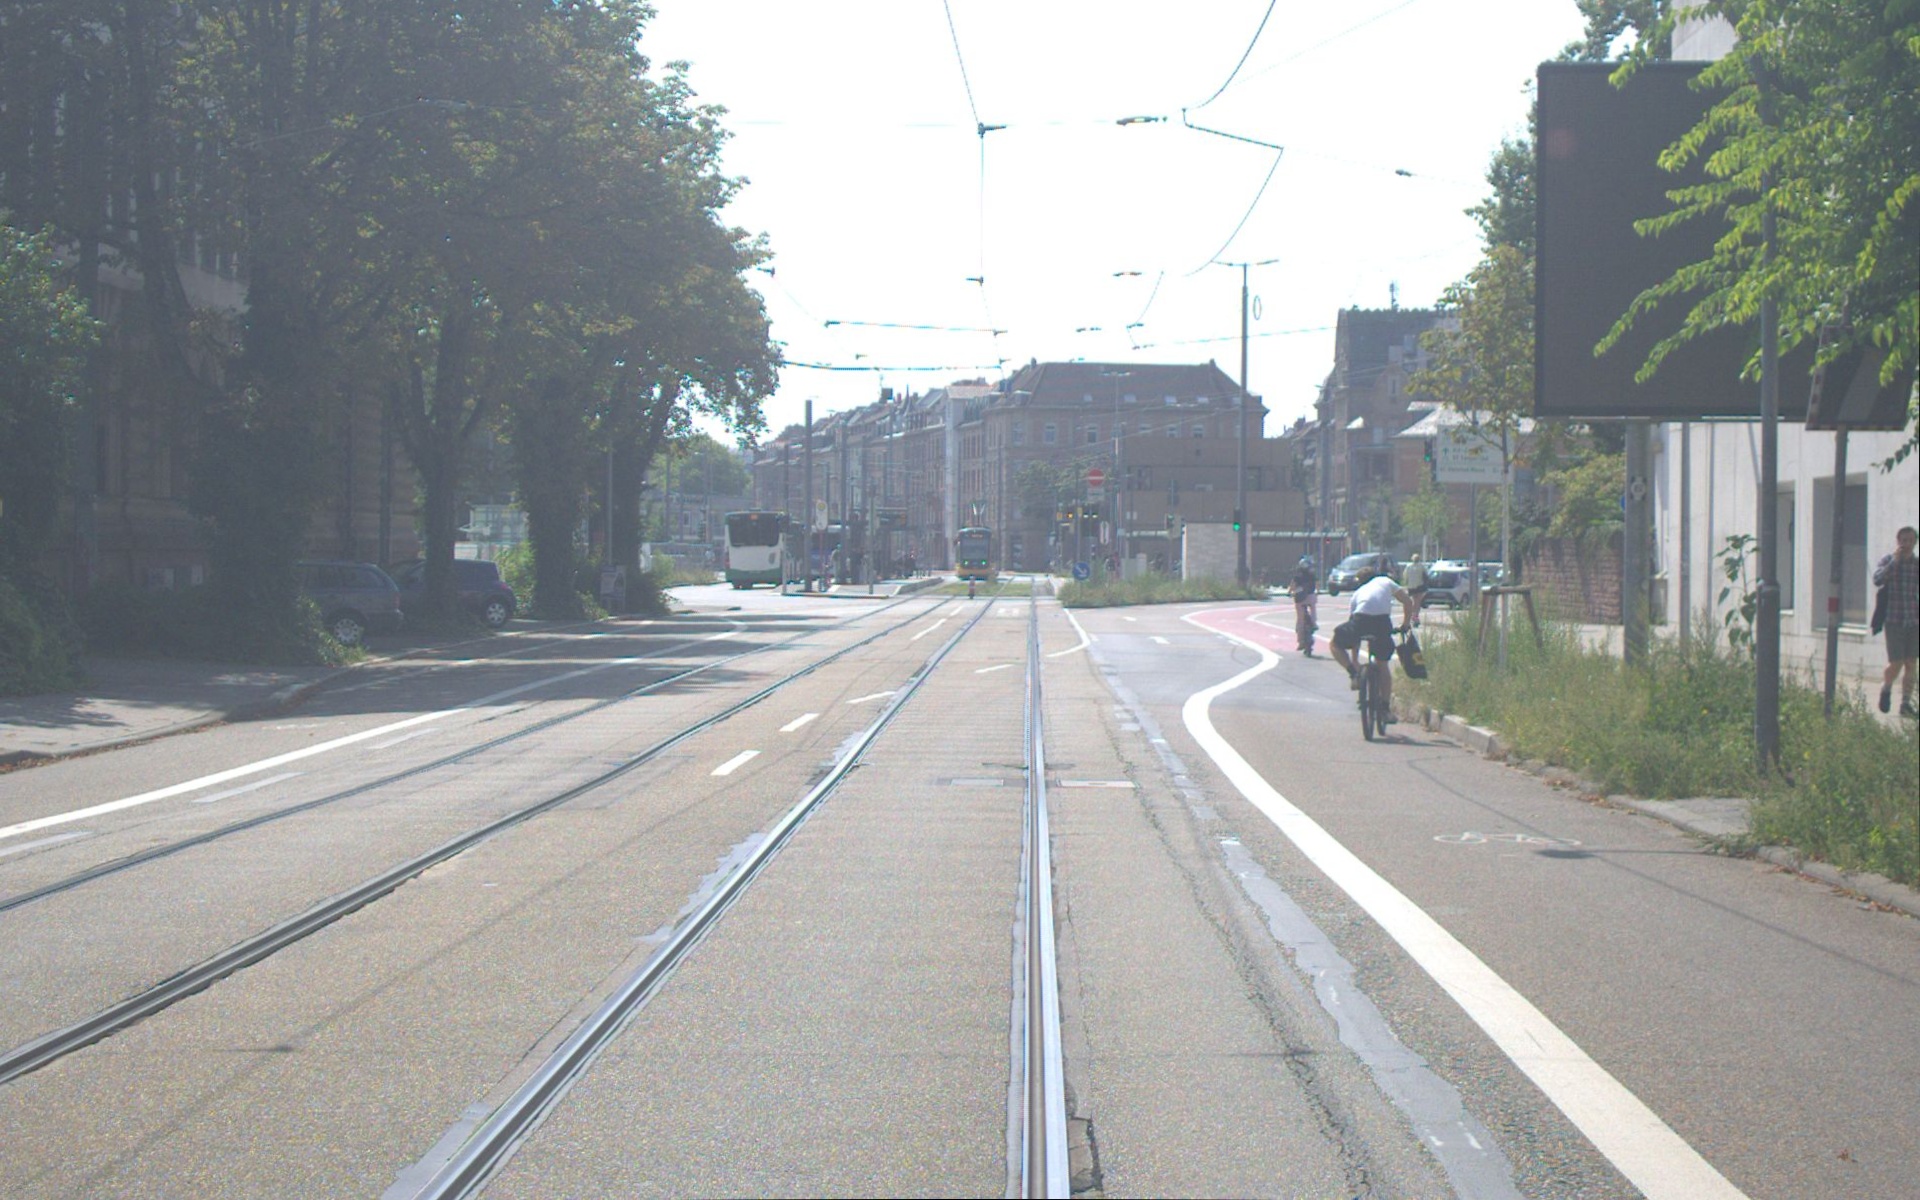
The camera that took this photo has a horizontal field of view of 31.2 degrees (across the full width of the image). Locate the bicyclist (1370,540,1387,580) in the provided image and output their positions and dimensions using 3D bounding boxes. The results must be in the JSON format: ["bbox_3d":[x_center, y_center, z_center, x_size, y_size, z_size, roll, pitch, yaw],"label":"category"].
[{"bbox_3d":[14.797,-1.400,121.464,0.450,1.416,0.495,0,0,30],"label":"bicyclist"}]

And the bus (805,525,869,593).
[{"bbox_3d":[-6.883,-2.289,193.388,2.710,3.714,10.418,1,1,3],"label":"bus"}]

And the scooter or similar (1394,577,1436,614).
[{"bbox_3d":[11.834,-0.121,89.480,0.773,0.923,1.619,1,1,19],"label":"scooter or similar"}]

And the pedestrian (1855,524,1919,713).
[{"bbox_3d":[8.667,0.162,31.698,0.692,1.726,0.579,0,1,3],"label":"pedestrian"}]

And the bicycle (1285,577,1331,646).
[{"bbox_3d":[5.967,0.185,59.043,0.604,1.159,1.810,0,1,0],"label":"bicycle"}]

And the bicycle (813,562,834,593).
[{"bbox_3d":[-5.353,-0.899,134.893,0.607,1.218,1.705,0,1,5],"label":"bicycle"}]

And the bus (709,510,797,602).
[{"bbox_3d":[-8.856,-1.892,148.349,2.958,3.762,10.596,1,1,1],"label":"bus"}]

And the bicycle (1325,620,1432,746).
[{"bbox_3d":[3.790,0.732,31.268,0.739,1.045,2.233,1,1,1],"label":"bicycle"}]

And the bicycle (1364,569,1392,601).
[{"bbox_3d":[14.754,-0.531,121.372,0.445,1.113,1.444,0,1,30],"label":"bicycle"}]

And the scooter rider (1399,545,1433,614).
[{"bbox_3d":[11.882,-0.539,89.561,0.762,1.769,0.554,1,1,18],"label":"scooter rider"}]

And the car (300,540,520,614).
[{"bbox_3d":[-11.475,-0.476,71.784,4.151,1.491,1.821,0,1,-36],"label":"car"}]

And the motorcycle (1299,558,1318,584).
[{"bbox_3d":[16.013,-1.344,157.830,0.604,1.206,2.252,1,1,12],"label":"motorcycle"}]

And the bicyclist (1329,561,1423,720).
[{"bbox_3d":[3.780,0.358,31.262,0.745,1.407,0.962,1,1,2],"label":"bicyclist"}]

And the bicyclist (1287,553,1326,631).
[{"bbox_3d":[5.956,-0.138,59.059,0.602,1.331,0.660,0,1,1],"label":"bicyclist"}]

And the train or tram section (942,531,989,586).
[{"bbox_3d":[0.415,-2.773,233.373,2.856,3.536,17.742,1,1,1],"label":"train or tram section"}]

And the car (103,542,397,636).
[{"bbox_3d":[-11.671,-0.181,56.546,4.414,1.457,1.821,1,1,-25],"label":"car"}]
